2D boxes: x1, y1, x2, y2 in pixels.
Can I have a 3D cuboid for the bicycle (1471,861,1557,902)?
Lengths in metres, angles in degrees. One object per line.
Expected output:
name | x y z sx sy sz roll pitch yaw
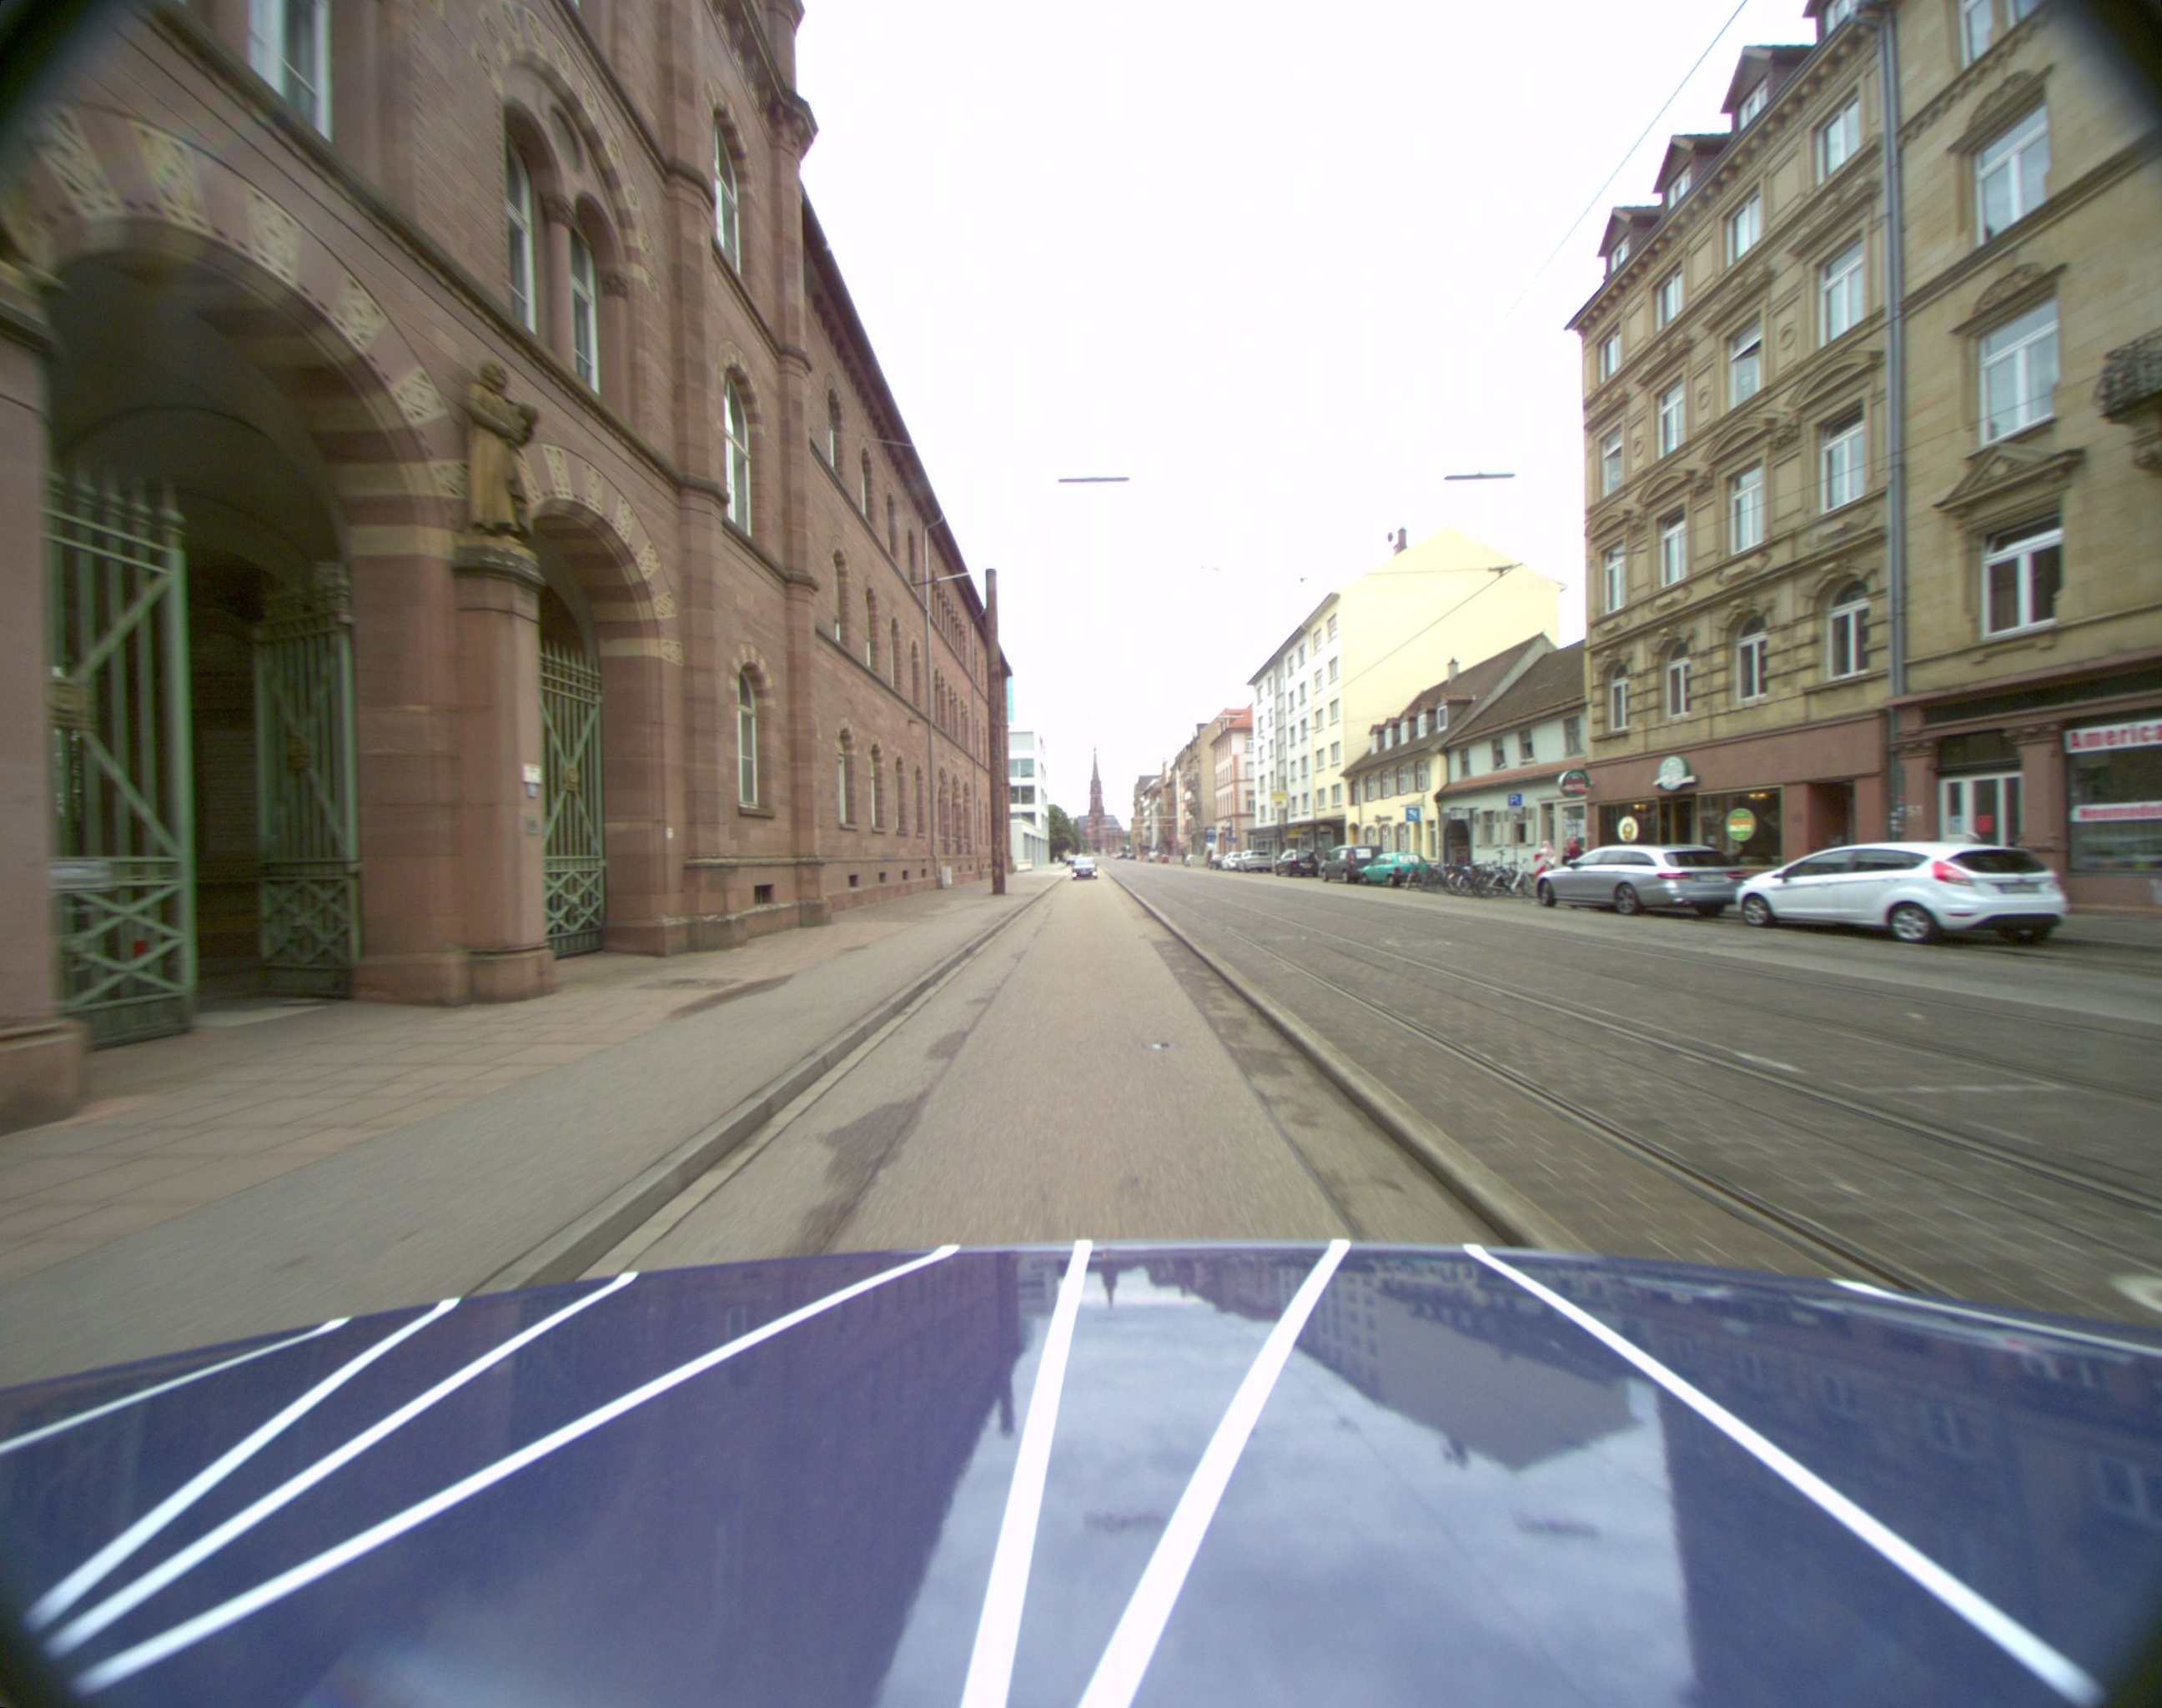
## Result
bicycle | 12.699 0.793 22.309 2.139 1.091 0.557 -2 1 2

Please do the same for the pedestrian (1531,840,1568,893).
pedestrian | 14.732 0.394 23.902 0.657 1.607 0.728 -2 1 0

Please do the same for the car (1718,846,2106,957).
car | 12.666 0.620 12.052 1.748 1.456 4.046 0 0 0

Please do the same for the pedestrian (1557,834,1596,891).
pedestrian | 15.420 0.260 23.656 0.657 1.702 0.753 -2 1 0

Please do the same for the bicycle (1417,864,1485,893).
bicycle | 12.883 0.850 26.465 2.044 0.928 0.557 -2 1 3

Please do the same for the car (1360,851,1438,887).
car | 13.070 0.593 31.439 1.651 1.373 3.435 0 0 -2

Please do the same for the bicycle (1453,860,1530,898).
bicycle | 12.795 0.776 23.691 2.044 1.091 0.557 -2 1 2

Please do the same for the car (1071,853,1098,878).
car | 0.186 0.761 52.019 1.747 1.538 3.650 -2 1 -1

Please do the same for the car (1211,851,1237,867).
car | 13.204 0.456 70.303 1.733 1.336 3.246 -2 1 0

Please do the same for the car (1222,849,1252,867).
car | 13.113 0.306 64.128 1.733 1.443 3.826 -2 1 0

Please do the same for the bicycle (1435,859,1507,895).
bicycle | 12.840 0.761 25.032 2.044 1.091 0.557 -2 1 2

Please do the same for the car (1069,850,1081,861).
car | -1.069 0.245 127.910 1.835 1.652 4.000 -2 1 1

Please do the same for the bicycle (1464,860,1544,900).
bicycle | 12.826 0.781 23.066 2.044 1.091 0.557 -2 1 2

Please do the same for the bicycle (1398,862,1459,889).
bicycle | 13.126 0.802 28.705 2.044 0.928 0.557 -2 1 -2

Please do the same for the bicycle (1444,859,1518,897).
bicycle | 12.836 0.767 24.424 2.044 1.091 0.557 -2 1 2

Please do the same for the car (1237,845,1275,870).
car | 13.187 0.238 57.384 1.928 1.722 3.826 -2 1 0

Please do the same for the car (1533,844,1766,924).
car | 12.252 0.585 16.836 1.828 1.512 4.545 0 0 1

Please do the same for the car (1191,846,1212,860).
car | 13.423 -0.123 84.833 1.867 1.553 4.000 0 1 1

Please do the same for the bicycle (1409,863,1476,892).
bicycle | 12.897 0.843 27.128 2.126 0.928 0.557 -2 1 -2

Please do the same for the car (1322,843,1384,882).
car | 12.962 0.373 36.390 1.707 1.747 3.920 0 1 2

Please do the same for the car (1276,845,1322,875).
car | 13.215 0.328 46.257 1.704 1.662 4.181 -2 1 2
